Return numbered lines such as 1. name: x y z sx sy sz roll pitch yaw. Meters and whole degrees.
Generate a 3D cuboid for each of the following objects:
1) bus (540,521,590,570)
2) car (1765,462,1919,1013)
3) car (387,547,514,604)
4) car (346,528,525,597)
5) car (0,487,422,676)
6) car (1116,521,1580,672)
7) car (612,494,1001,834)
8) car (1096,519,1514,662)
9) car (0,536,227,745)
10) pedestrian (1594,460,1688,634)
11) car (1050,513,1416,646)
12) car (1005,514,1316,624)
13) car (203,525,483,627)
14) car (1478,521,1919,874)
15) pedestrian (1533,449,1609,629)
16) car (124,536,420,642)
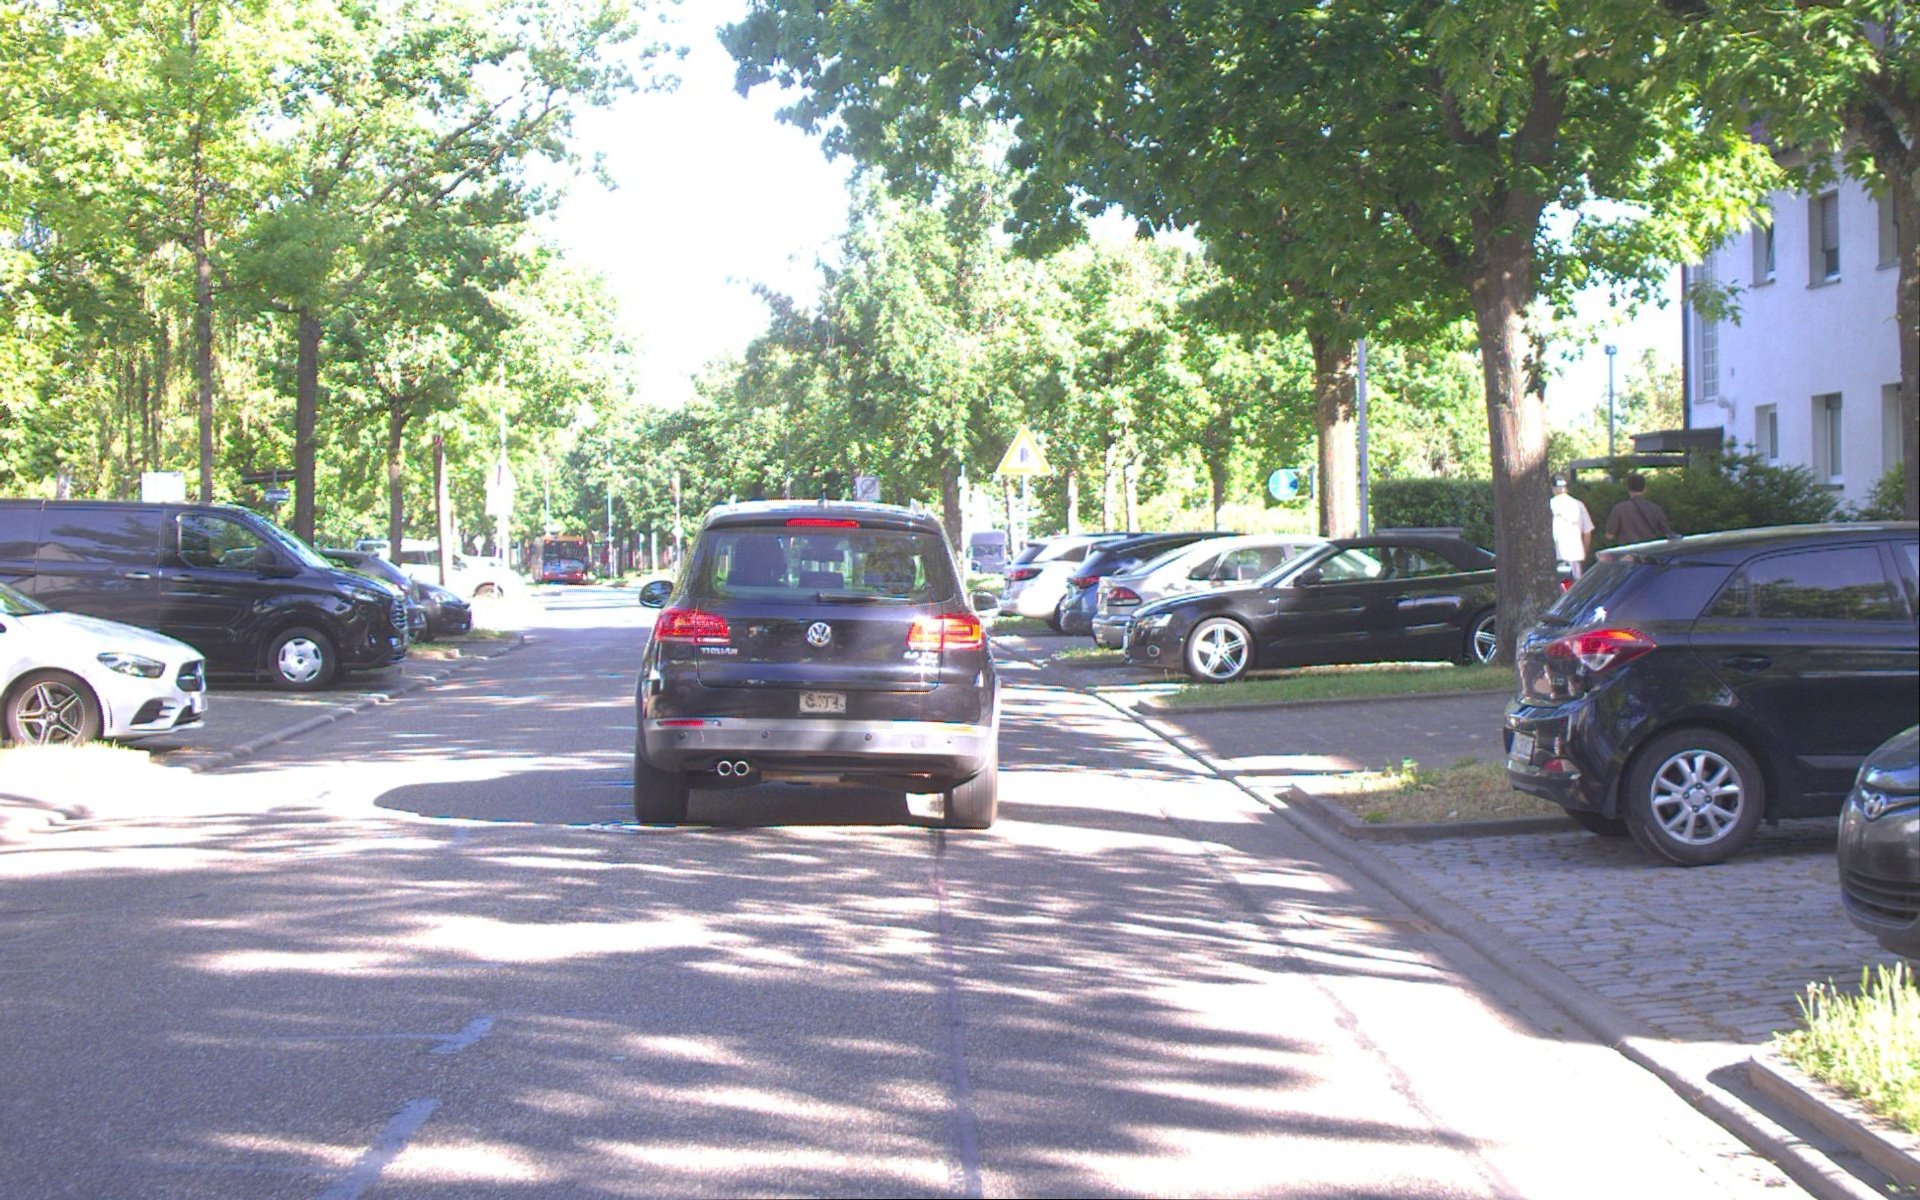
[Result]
1. bus: -24.510 -3.366 213.435 2.928 2.993 5.738 -1 0 -6
2. car: 4.773 0.371 10.869 3.986 1.618 1.757 -1 0 -2
3. car: -16.934 -0.824 114.396 4.015 1.641 1.812 -2 3 -6
4. car: -12.875 -0.927 84.594 4.241 1.617 1.897 -1 1 -6
5. car: -8.138 -0.216 35.973 4.778 1.910 2.019 0 2 -3
6. car: 3.817 -0.047 34.351 4.345 1.358 1.874 -1 1 -2
7. car: -0.716 0.271 18.494 1.838 1.631 3.958 0 1 1
8. car: 3.676 -0.119 37.164 4.276 1.409 1.797 -1 1 -1
9. car: -7.773 0.257 25.559 4.275 1.473 1.769 1 1 -1
10. pedestrian: 7.243 -0.565 36.602 0.835 1.822 0.710 -1 0 0
11. car: 3.303 -0.271 42.120 4.276 1.498 1.797 -1 1 -1
12. car: 2.930 -0.474 50.855 4.428 1.486 1.797 -1 1 -1
13. car: -9.108 -0.364 50.934 3.857 1.454 1.713 0 1 -1
14. car: 4.468 0.402 15.831 3.882 1.511 1.661 -1 0 0
15. pedestrian: 6.447 -0.637 36.297 0.608 1.867 0.924 -1 0 0
16. car: -9.536 -0.166 47.845 3.818 1.414 1.772 0 1 -3
